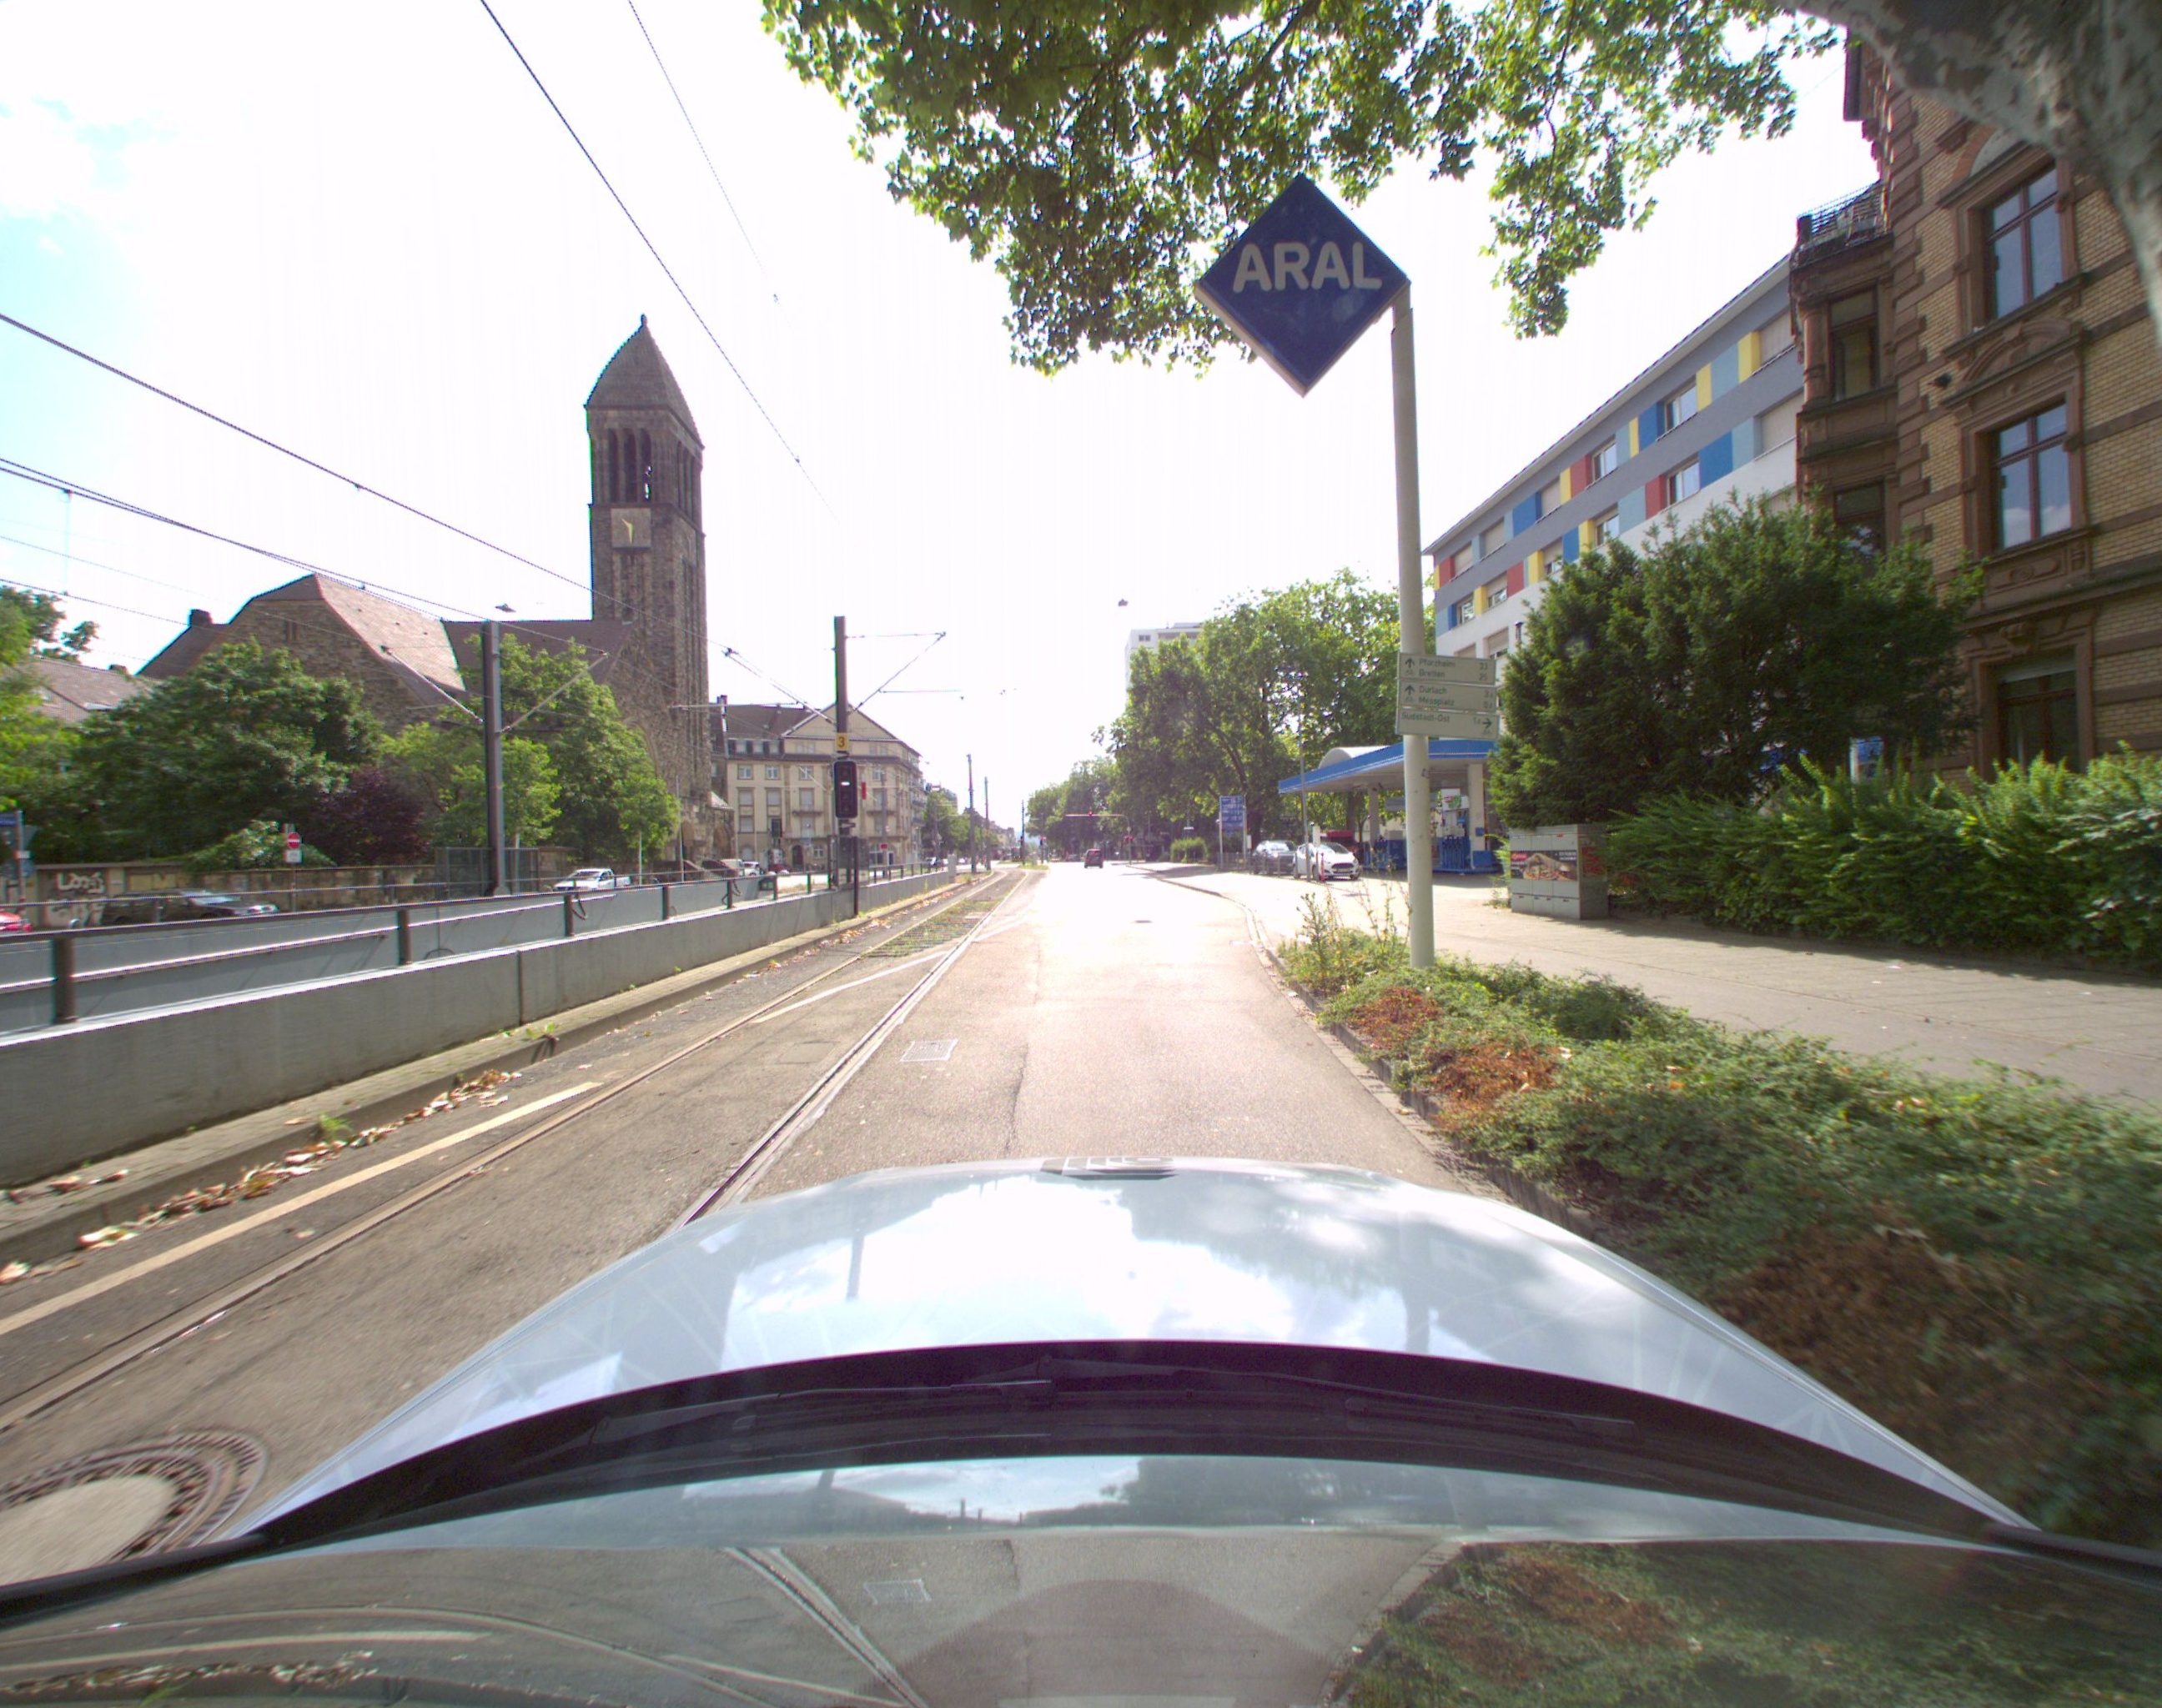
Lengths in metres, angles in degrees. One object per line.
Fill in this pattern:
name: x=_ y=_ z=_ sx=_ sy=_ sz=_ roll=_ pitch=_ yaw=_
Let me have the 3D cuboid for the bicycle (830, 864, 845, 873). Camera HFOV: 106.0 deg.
bicycle: x=-32.819 y=1.925 z=109.616 sx=0.798 sy=1.053 sz=2.573 roll=-2 pitch=0 yaw=10

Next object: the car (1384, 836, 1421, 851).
car: x=45.913 y=-1.460 z=116.233 sx=4.401 sy=2.013 sz=2.076 roll=-2 pitch=0 yaw=-1

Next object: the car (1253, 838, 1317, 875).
car: x=9.642 y=0.096 z=38.814 sx=1.800 sy=1.602 sz=4.580 roll=-2 pitch=0 yaw=-1

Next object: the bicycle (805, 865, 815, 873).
bicycle: x=-35.955 y=1.979 z=107.945 sx=0.745 sy=1.053 sz=2.540 roll=-2 pitch=0 yaw=-31

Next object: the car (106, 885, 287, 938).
car: x=-29.266 y=1.876 z=27.033 sx=3.952 sy=1.464 sz=1.722 roll=-3 pitch=0 yaw=-2

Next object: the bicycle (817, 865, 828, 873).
bicycle: x=-34.481 y=1.958 z=108.776 sx=0.809 sy=1.053 sz=2.540 roll=-2 pitch=0 yaw=-31

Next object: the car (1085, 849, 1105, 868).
car: x=1.350 y=0.435 z=80.208 sx=1.746 sy=1.809 sz=3.472 roll=-1 pitch=0 yaw=-2

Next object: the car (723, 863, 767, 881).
car: x=-30.623 y=1.614 z=74.256 sx=3.259 sy=1.502 sz=1.852 roll=-2 pitch=0 yaw=-4

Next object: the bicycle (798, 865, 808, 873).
bicycle: x=-36.885 y=1.994 z=107.871 sx=0.745 sy=1.053 sz=2.341 roll=-2 pitch=0 yaw=-31

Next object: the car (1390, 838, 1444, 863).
car: x=24.473 y=-0.266 z=59.439 sx=2.000 sy=1.754 sz=4.651 roll=-1 pitch=0 yaw=0

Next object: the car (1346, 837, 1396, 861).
car: x=21.424 y=-0.385 z=60.313 sx=2.000 sy=1.651 sz=4.651 roll=-1 pitch=0 yaw=0

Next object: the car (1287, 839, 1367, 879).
car: x=9.619 y=0.182 z=32.205 sx=1.801 sy=1.455 sz=3.997 roll=-2 pitch=0 yaw=-3

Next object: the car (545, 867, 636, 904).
car: x=-23.654 y=1.476 z=39.486 sx=1.927 sy=1.504 sz=4.408 roll=-2 pitch=0 yaw=-4

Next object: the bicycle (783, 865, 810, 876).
bicycle: x=-37.062 y=2.122 z=106.224 sx=3.286 sy=1.253 sz=1.003 roll=-2 pitch=0 yaw=14

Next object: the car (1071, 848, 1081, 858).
car: x=-0.997 y=-0.131 z=155.173 sx=1.858 sy=1.752 sz=3.997 roll=-2 pitch=0 yaw=-2

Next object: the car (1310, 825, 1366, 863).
car: x=18.813 y=-0.687 z=59.914 sx=2.105 sy=2.582 sz=6.018 roll=-2 pitch=0 yaw=0

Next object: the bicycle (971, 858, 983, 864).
bicycle: x=-19.718 y=1.299 z=154.091 sx=0.885 sy=1.048 sz=2.324 roll=-2 pitch=0 yaw=32

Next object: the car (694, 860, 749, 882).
car: x=-31.290 y=1.491 z=70.945 sx=3.864 sy=1.748 sz=1.892 roll=-2 pitch=0 yaw=-5

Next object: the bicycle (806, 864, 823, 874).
bicycle: x=-34.648 y=1.950 z=105.801 sx=1.986 sy=1.114 sz=0.481 roll=-2 pitch=0 yaw=-39

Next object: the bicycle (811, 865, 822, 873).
bicycle: x=-35.222 y=1.969 z=108.333 sx=0.809 sy=1.053 sz=2.540 roll=-2 pitch=0 yaw=-31

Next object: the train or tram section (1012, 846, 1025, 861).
train or tram section: x=-14.386 y=-0.076 z=188.918 sx=2.234 sy=3.331 sz=12.963 roll=-2 pitch=0 yaw=-1

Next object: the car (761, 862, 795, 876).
car: x=-39.063 y=1.904 z=105.063 sx=3.948 sy=1.674 sz=2.013 roll=-2 pitch=0 yaw=30

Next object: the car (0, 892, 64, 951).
car: x=-29.696 y=1.847 z=21.282 sx=3.767 sy=1.464 sz=1.933 roll=-2 pitch=0 yaw=0

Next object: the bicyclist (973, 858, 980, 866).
bicyclist: x=-19.742 y=1.511 z=153.943 sx=0.770 sy=1.511 sz=1.007 roll=-2 pitch=0 yaw=33

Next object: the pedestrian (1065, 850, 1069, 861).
pedestrian: x=-2.226 y=0.199 z=129.644 sx=0.657 sy=1.784 sz=0.660 roll=-2 pitch=0 yaw=-2

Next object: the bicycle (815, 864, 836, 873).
bicycle: x=-33.679 y=1.940 z=107.259 sx=2.574 sy=1.053 sz=0.676 roll=-2 pitch=0 yaw=-30
